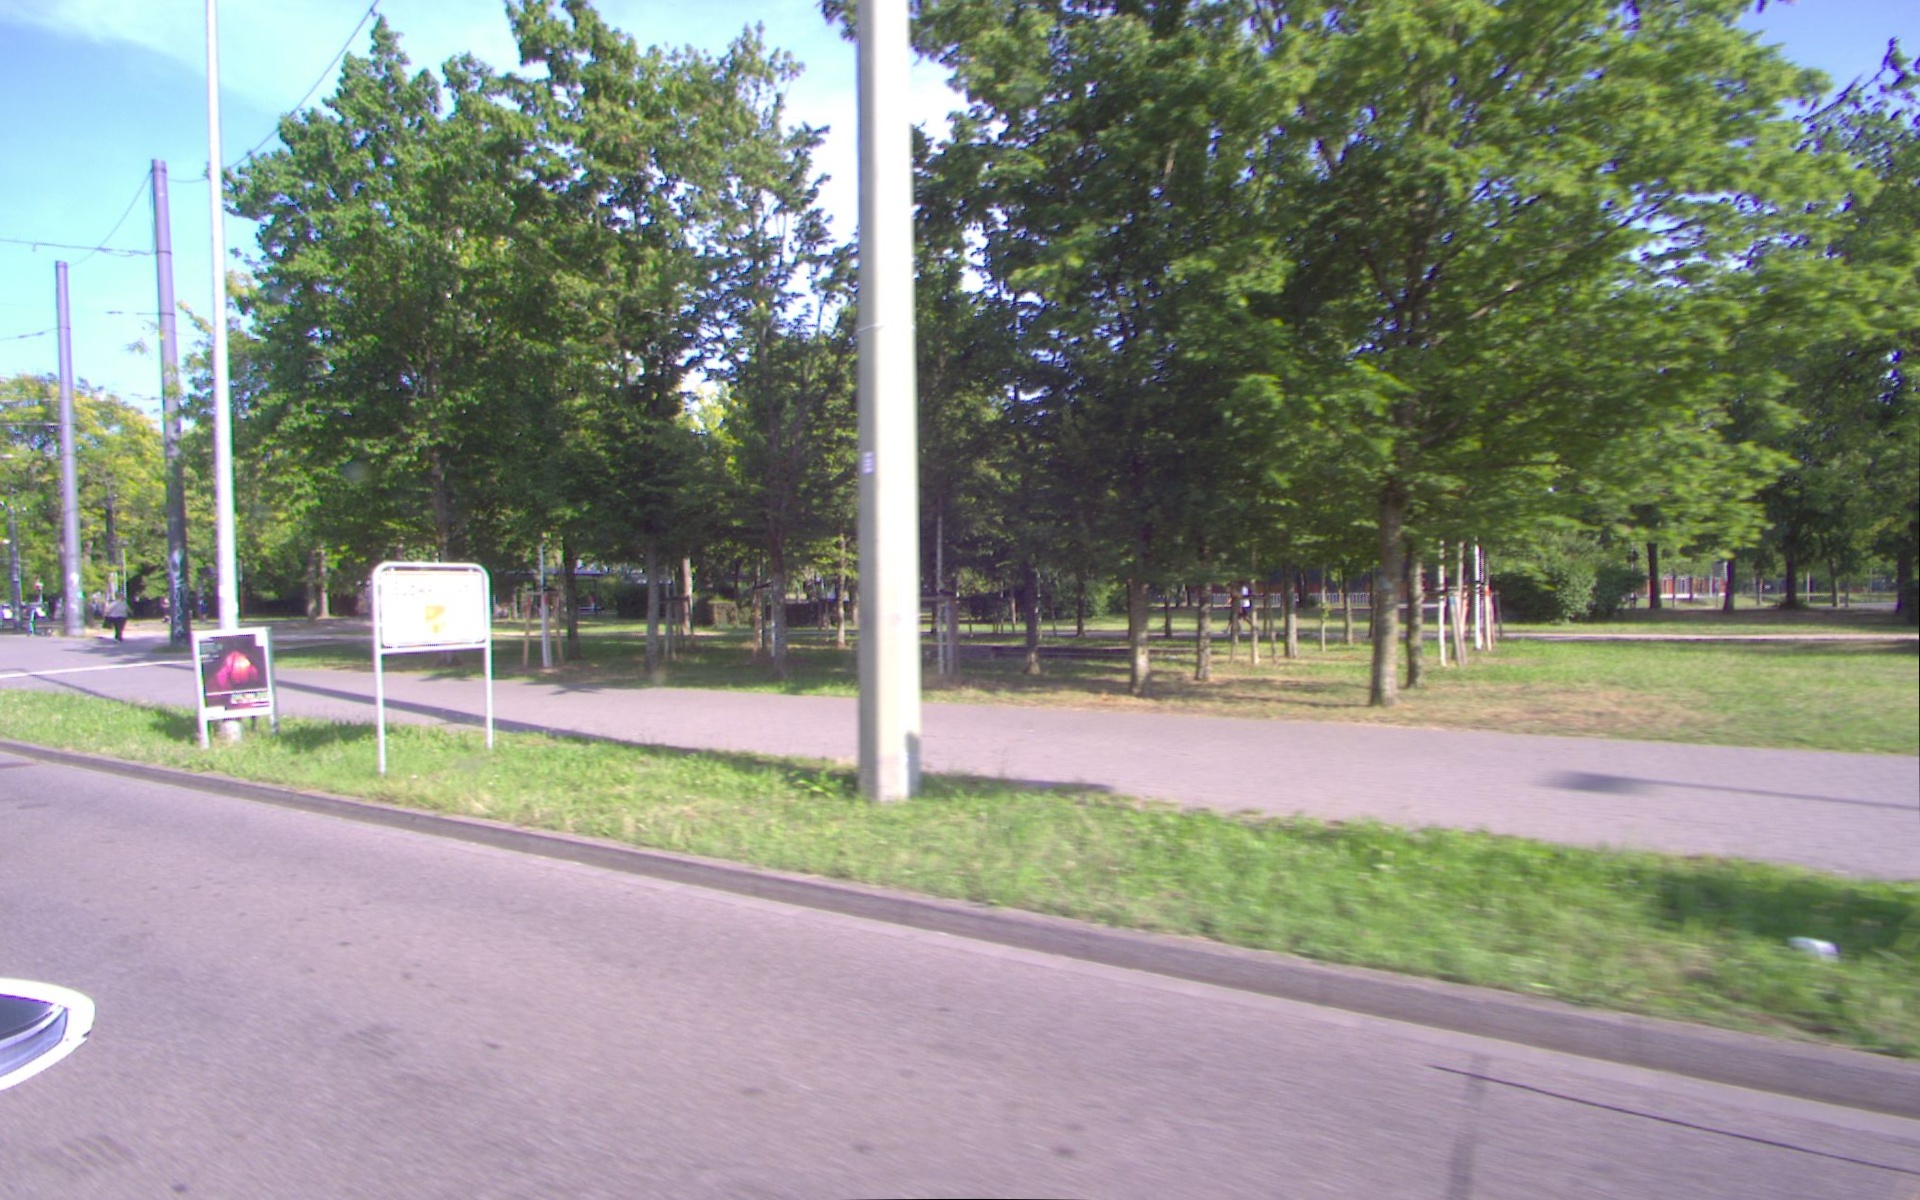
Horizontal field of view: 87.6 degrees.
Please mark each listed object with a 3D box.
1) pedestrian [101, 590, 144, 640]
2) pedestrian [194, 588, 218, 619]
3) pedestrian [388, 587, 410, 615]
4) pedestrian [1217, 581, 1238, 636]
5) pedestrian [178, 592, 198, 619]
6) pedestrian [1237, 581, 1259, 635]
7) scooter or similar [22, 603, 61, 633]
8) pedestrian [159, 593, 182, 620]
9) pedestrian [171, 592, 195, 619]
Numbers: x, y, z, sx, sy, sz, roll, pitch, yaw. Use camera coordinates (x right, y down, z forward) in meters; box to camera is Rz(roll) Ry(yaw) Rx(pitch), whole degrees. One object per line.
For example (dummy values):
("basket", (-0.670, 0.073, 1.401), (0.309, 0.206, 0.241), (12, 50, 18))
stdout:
("pedestrian", (-27.927, 0.486, 33.401), (0.793, 1.659, 0.754), (-1, 1, -8))
("pedestrian", (-44.292, 0.192, 58.837), (0.826, 1.809, 0.799), (0, 1, 28))
("pedestrian", (-33.669, 0.035, 60.098), (0.792, 1.659, 0.833), (0, 1, 38))
("pedestrian", (9.082, 0.292, 34.002), (0.617, 1.836, 0.502), (-1, 1, 6))
("pedestrian", (-44.013, 0.308, 57.109), (0.805, 1.508, 0.696), (-1, 1, -34))
("pedestrian", (9.933, 0.280, 34.552), (0.617, 1.836, 0.502), (-1, 1, 3))
("scooter or similar", (-35.435, 0.682, 38.635), (1.305, 1.132, 0.420), (0, 1, 12))
("pedestrian", (-45.053, 0.360, 57.115), (0.687, 1.508, 0.815), (-1, 1, -10))
("pedestrian", (-45.128, 0.314, 58.142), (0.688, 1.508, 0.813), (0, 1, 21))
